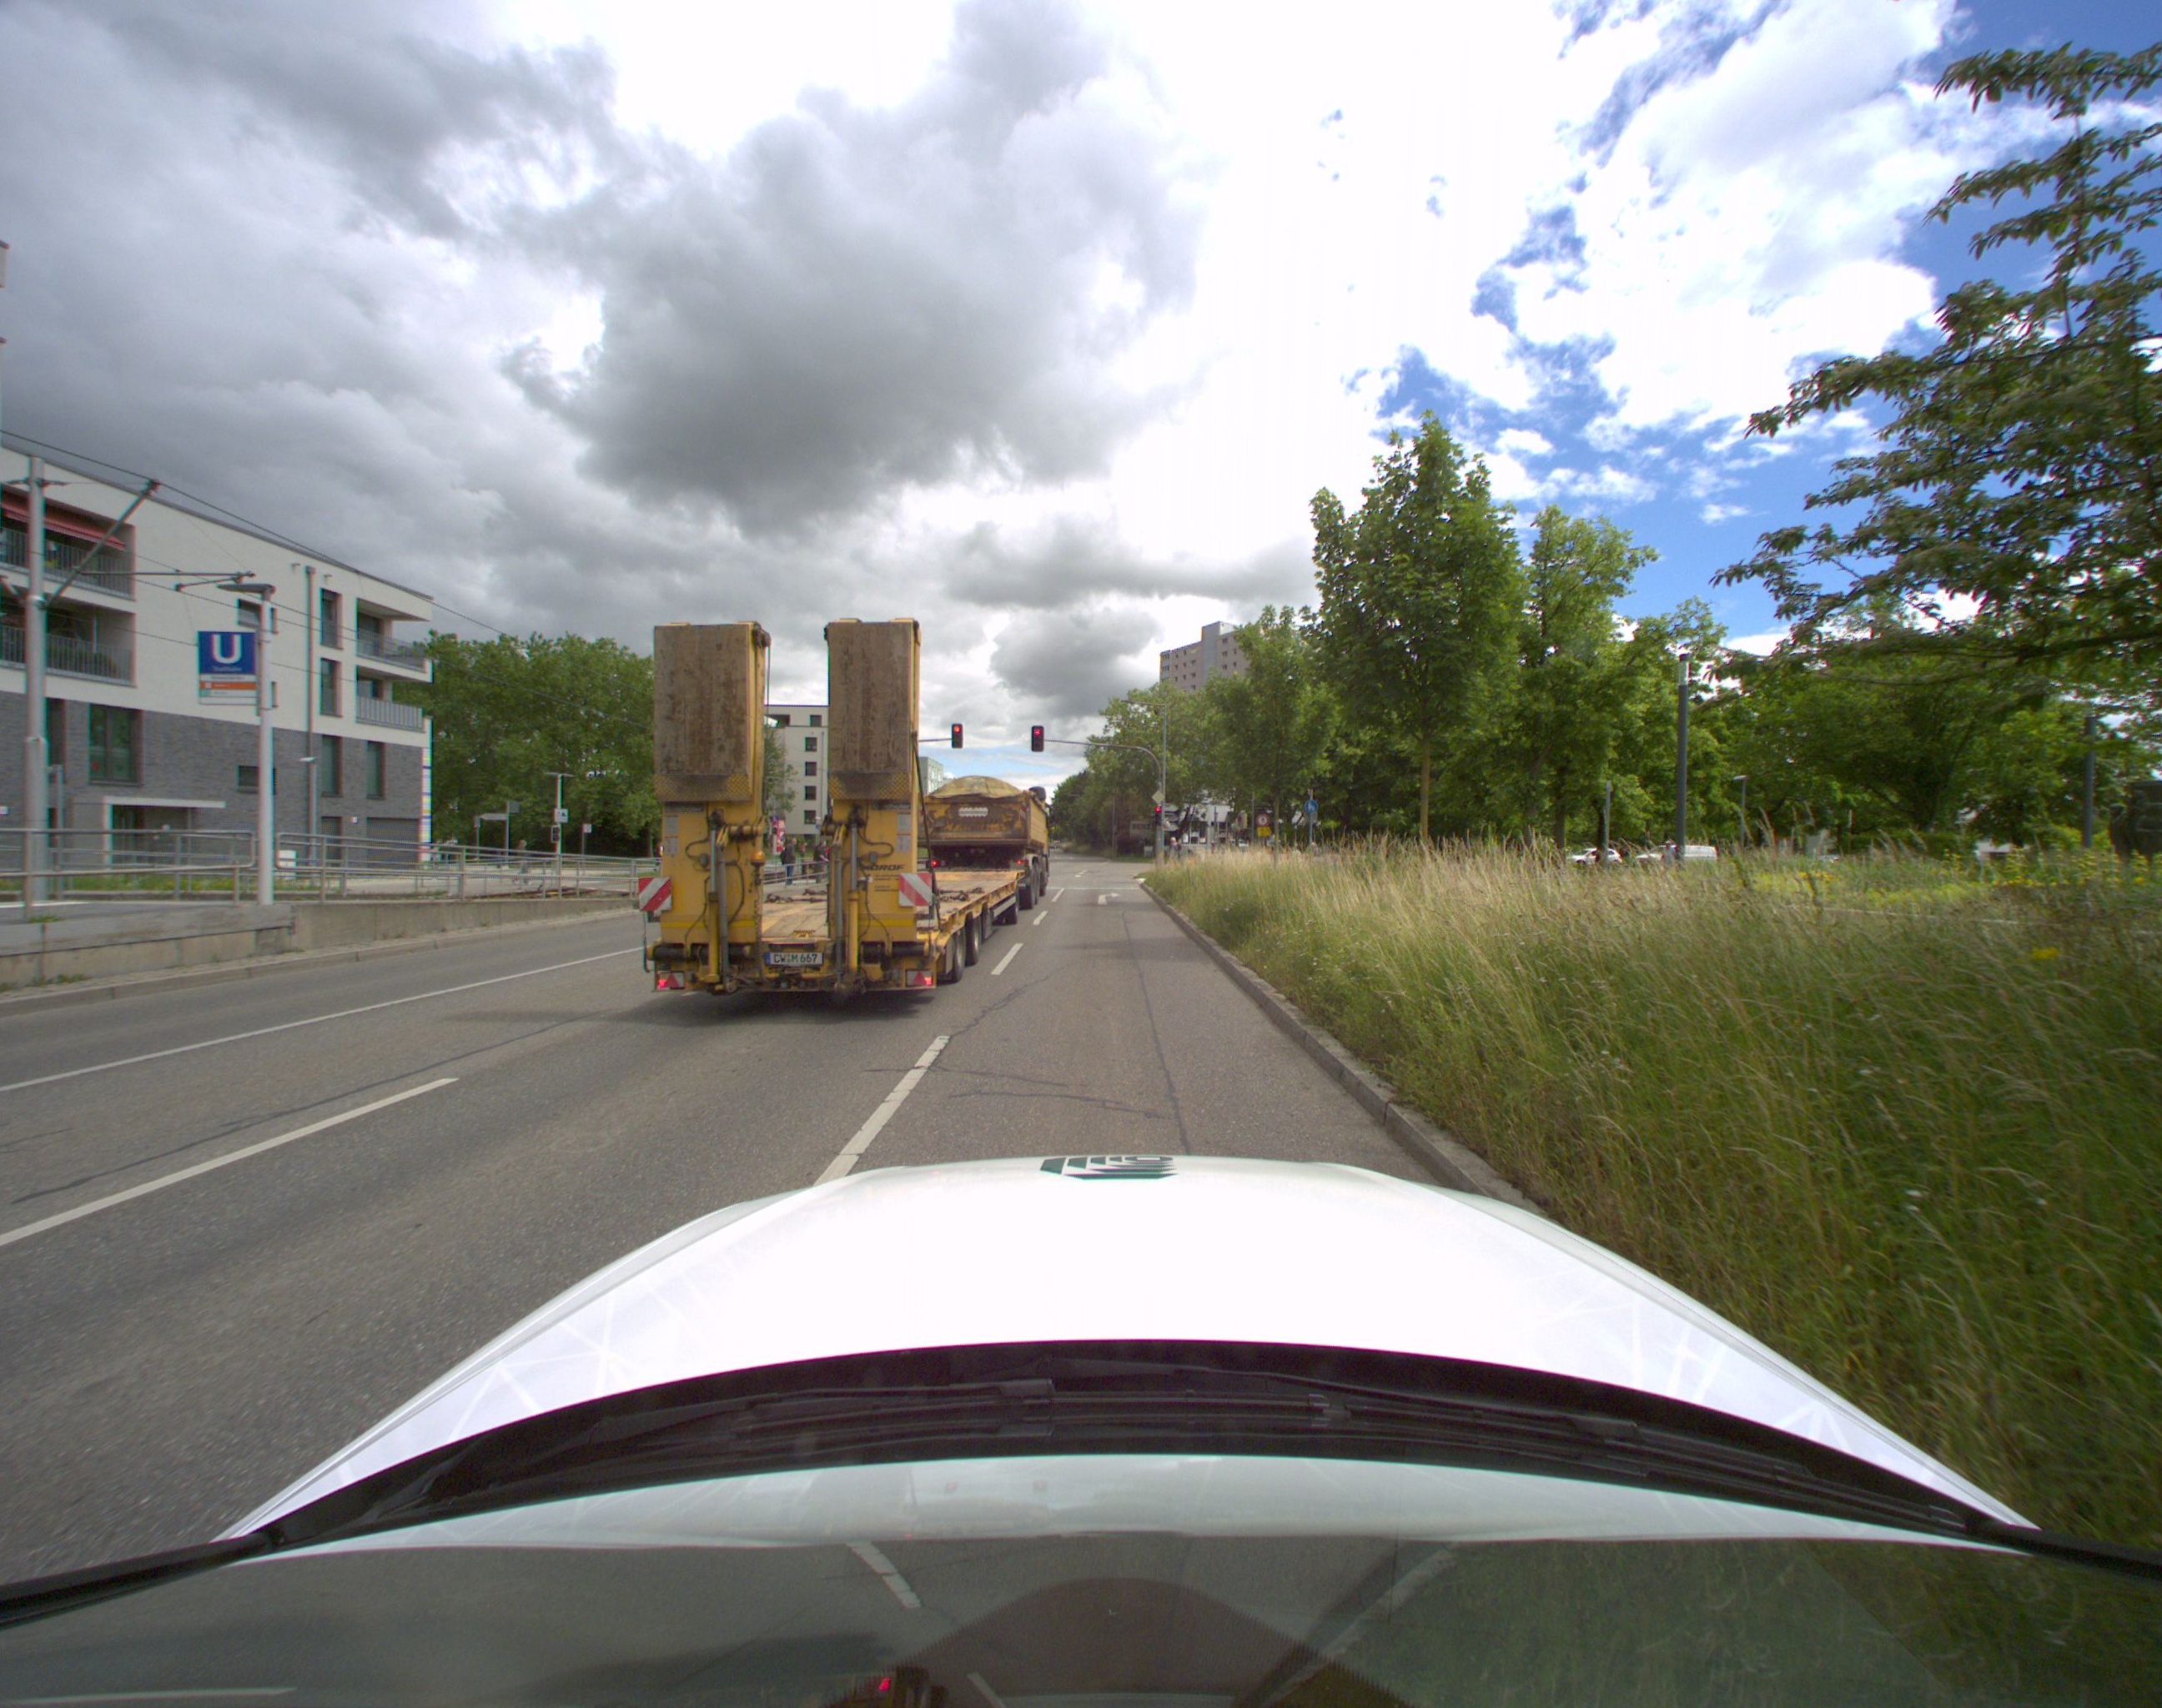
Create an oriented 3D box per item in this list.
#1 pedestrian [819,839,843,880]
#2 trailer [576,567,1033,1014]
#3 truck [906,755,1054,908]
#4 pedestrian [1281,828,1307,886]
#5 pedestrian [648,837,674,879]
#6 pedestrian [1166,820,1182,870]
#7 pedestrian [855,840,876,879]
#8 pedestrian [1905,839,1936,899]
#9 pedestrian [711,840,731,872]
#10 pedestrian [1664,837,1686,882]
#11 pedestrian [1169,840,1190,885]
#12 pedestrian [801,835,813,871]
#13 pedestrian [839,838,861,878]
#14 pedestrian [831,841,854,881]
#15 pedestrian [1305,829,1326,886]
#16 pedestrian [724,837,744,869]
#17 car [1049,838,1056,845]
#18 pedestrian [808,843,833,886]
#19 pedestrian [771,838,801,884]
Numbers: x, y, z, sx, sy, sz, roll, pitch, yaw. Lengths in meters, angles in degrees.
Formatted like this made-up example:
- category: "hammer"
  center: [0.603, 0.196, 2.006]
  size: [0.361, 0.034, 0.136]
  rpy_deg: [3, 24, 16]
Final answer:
- category: "pedestrian"
  center: [-9.903, 0.209, 32.310]
  size: [0.679, 1.602, 0.823]
  rpy_deg: [1, 0, 0]
- category: "trailer"
  center: [-2.557, -0.571, 12.161]
  size: [2.719, 3.558, 11.257]
  rpy_deg: [1, 1, 1]
- category: "truck"
  center: [-2.351, -0.537, 21.970]
  size: [2.744, 3.313, 8.353]
  rpy_deg: [1, 1, 1]
- category: "pedestrian"
  center: [7.459, 0.111, 28.477]
  size: [0.671, 2.014, 0.633]
  rpy_deg: [1, 0, -8]
- category: "pedestrian"
  center: [-22.419, 0.190, 43.490]
  size: [0.912, 2.204, 0.882]
  rpy_deg: [1, 0, 1]
- category: "pedestrian"
  center: [3.781, -0.347, 33.149]
  size: [0.561, 2.014, 0.490]
  rpy_deg: [1, 0, -8]
- category: "pedestrian"
  center: [-9.511, 0.227, 35.950]
  size: [0.832, 1.669, 0.936]
  rpy_deg: [1, 0, -11]
- category: "pedestrian"
  center: [27.483, 0.490, 26.669]
  size: [0.573, 1.951, 0.406]
  rpy_deg: [1, 0, 1]
- category: "pedestrian"
  center: [-24.611, 0.126, 55.665]
  size: [0.912, 2.133, 0.935]
  rpy_deg: [1, 0, 1]
- category: "pedestrian"
  center: [23.544, 0.206, 32.293]
  size: [0.490, 1.743, 0.571]
  rpy_deg: [1, 0, -35]
- category: "pedestrian"
  center: [3.735, 0.319, 30.865]
  size: [0.621, 1.653, 0.566]
  rpy_deg: [0, 0, 27]
- category: "pedestrian"
  center: [-21.123, -0.098, 62.756]
  size: [0.685, 2.774, 0.742]
  rpy_deg: [1, 0, 1]
- category: "pedestrian"
  center: [-9.887, 0.168, 34.826]
  size: [0.679, 1.669, 0.823]
  rpy_deg: [1, 0, 0]
- category: "pedestrian"
  center: [-9.863, 0.277, 33.694]
  size: [0.679, 1.602, 0.823]
  rpy_deg: [1, 0, 0]
- category: "pedestrian"
  center: [8.328, 0.115, 28.943]
  size: [0.561, 2.014, 0.490]
  rpy_deg: [1, 0, -8]
- category: "pedestrian"
  center: [-23.648, -0.082, 55.539]
  size: [0.912, 2.133, 0.935]
  rpy_deg: [1, 0, 1]
- category: "car"
  center: [-8.035, -3.399, 229.565]
  size: [1.686, 1.925, 3.995]
  rpy_deg: [1, 1, -3]
- category: "pedestrian"
  center: [-9.952, 0.393, 31.119]
  size: [0.679, 1.602, 0.823]
  rpy_deg: [1, 0, 0]
- category: "pedestrian"
  center: [-10.861, 0.241, 30.029]
  size: [0.817, 1.668, 0.684]
  rpy_deg: [1, 0, 2]
